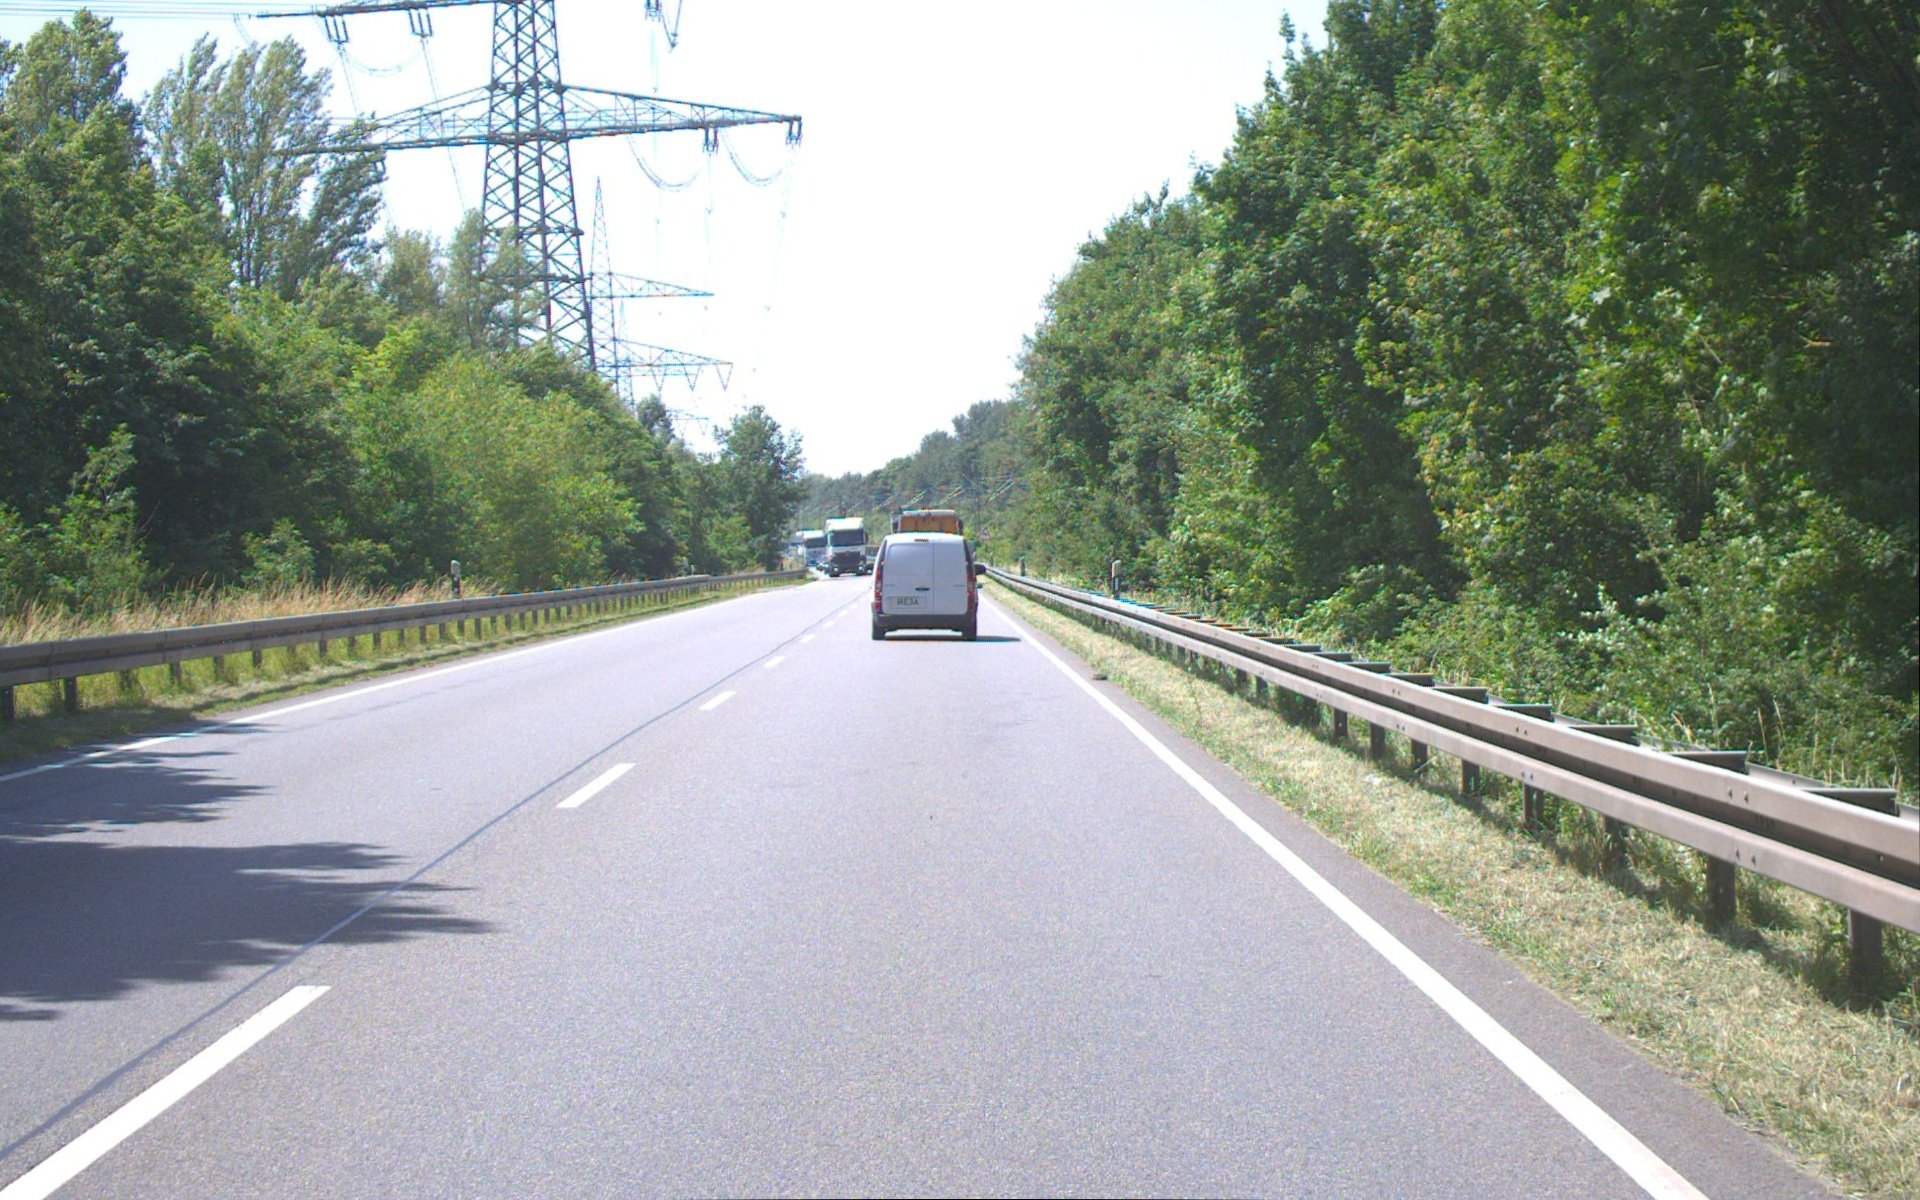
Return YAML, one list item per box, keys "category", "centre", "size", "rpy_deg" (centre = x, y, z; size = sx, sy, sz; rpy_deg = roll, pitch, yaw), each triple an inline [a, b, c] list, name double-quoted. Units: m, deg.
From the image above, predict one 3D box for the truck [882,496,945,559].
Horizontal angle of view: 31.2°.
- category: "truck"
  centre: [-3.087, -4.777, 222.423]
  size: [3.402, 3.841, 16.820]
  rpy_deg: [0, 2, -3]

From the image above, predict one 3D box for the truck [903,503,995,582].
- category: "truck"
  centre: [-0.554, -2.548, 148.146]
  size: [3.296, 3.161, 14.407]
  rpy_deg: [0, 2, -3]

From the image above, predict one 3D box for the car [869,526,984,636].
- category: "car"
  centre: [-0.574, -0.357, 58.069]
  size: [1.875, 1.735, 4.001]
  rpy_deg: [0, 2, -1]

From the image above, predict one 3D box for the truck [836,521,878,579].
- category: "truck"
  centre: [-7.130, -3.453, 237.570]
  size: [2.763, 3.985, 5.907]
  rpy_deg: [0, 1, -1]
